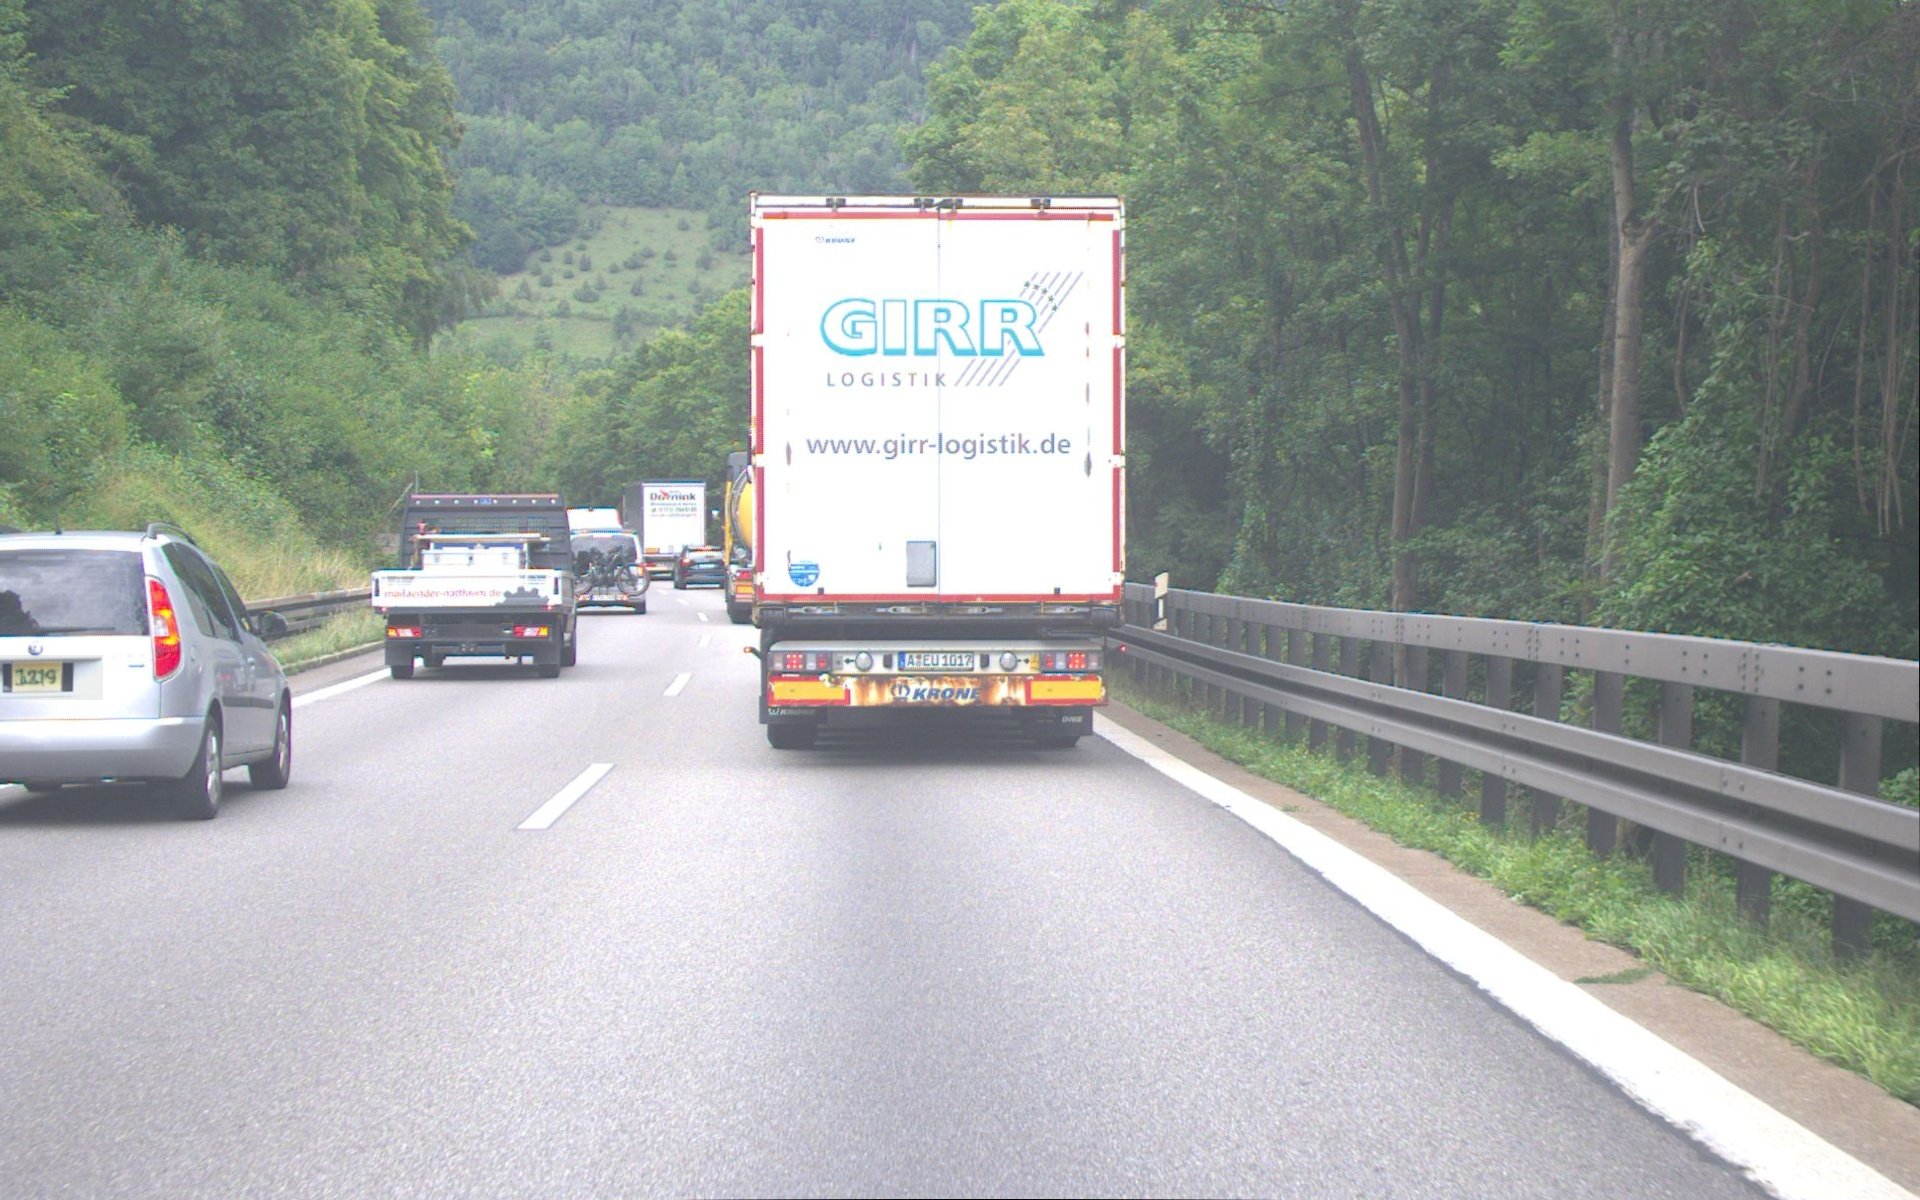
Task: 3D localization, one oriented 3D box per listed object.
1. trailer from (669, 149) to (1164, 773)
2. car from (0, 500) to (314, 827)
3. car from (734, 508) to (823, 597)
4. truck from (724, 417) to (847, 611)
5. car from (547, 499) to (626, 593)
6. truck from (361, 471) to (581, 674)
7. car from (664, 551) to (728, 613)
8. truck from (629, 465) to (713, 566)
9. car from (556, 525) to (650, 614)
[{"bbox_3d":[-0.564,-1.023,27.826,3.132,4.029,9.441,3,1,-3],"label":"trailer"},{"bbox_3d":[-4.941,0.302,20.297,1.634,1.720,4.345,0,1,-3],"label":"car"},{"bbox_3d":[-4.334,-1.118,81.635,1.993,2.007,4.334,2,0,-4],"label":"car"},{"bbox_3d":[-3.562,-1.731,71.402,2.233,3.791,6.823,2,0,-1],"label":"truck"},{"bbox_3d":[-10.633,-1.548,98.167,2.123,2.589,5.564,1,1,-5],"label":"car"},{"bbox_3d":[-5.994,-0.371,42.928,2.348,2.266,6.851,2,1,-5],"label":"truck"},{"bbox_3d":[-8.893,-0.613,115.709,1.993,2.007,4.001,2,0,-6],"label":"car"},{"bbox_3d":[-11.750,-3.356,139.236,3.068,3.864,8.460,2,0,-6],"label":"truck"},{"bbox_3d":[-8.107,-0.719,78.397,2.018,1.908,5.564,2,1,-5],"label":"car"}]
